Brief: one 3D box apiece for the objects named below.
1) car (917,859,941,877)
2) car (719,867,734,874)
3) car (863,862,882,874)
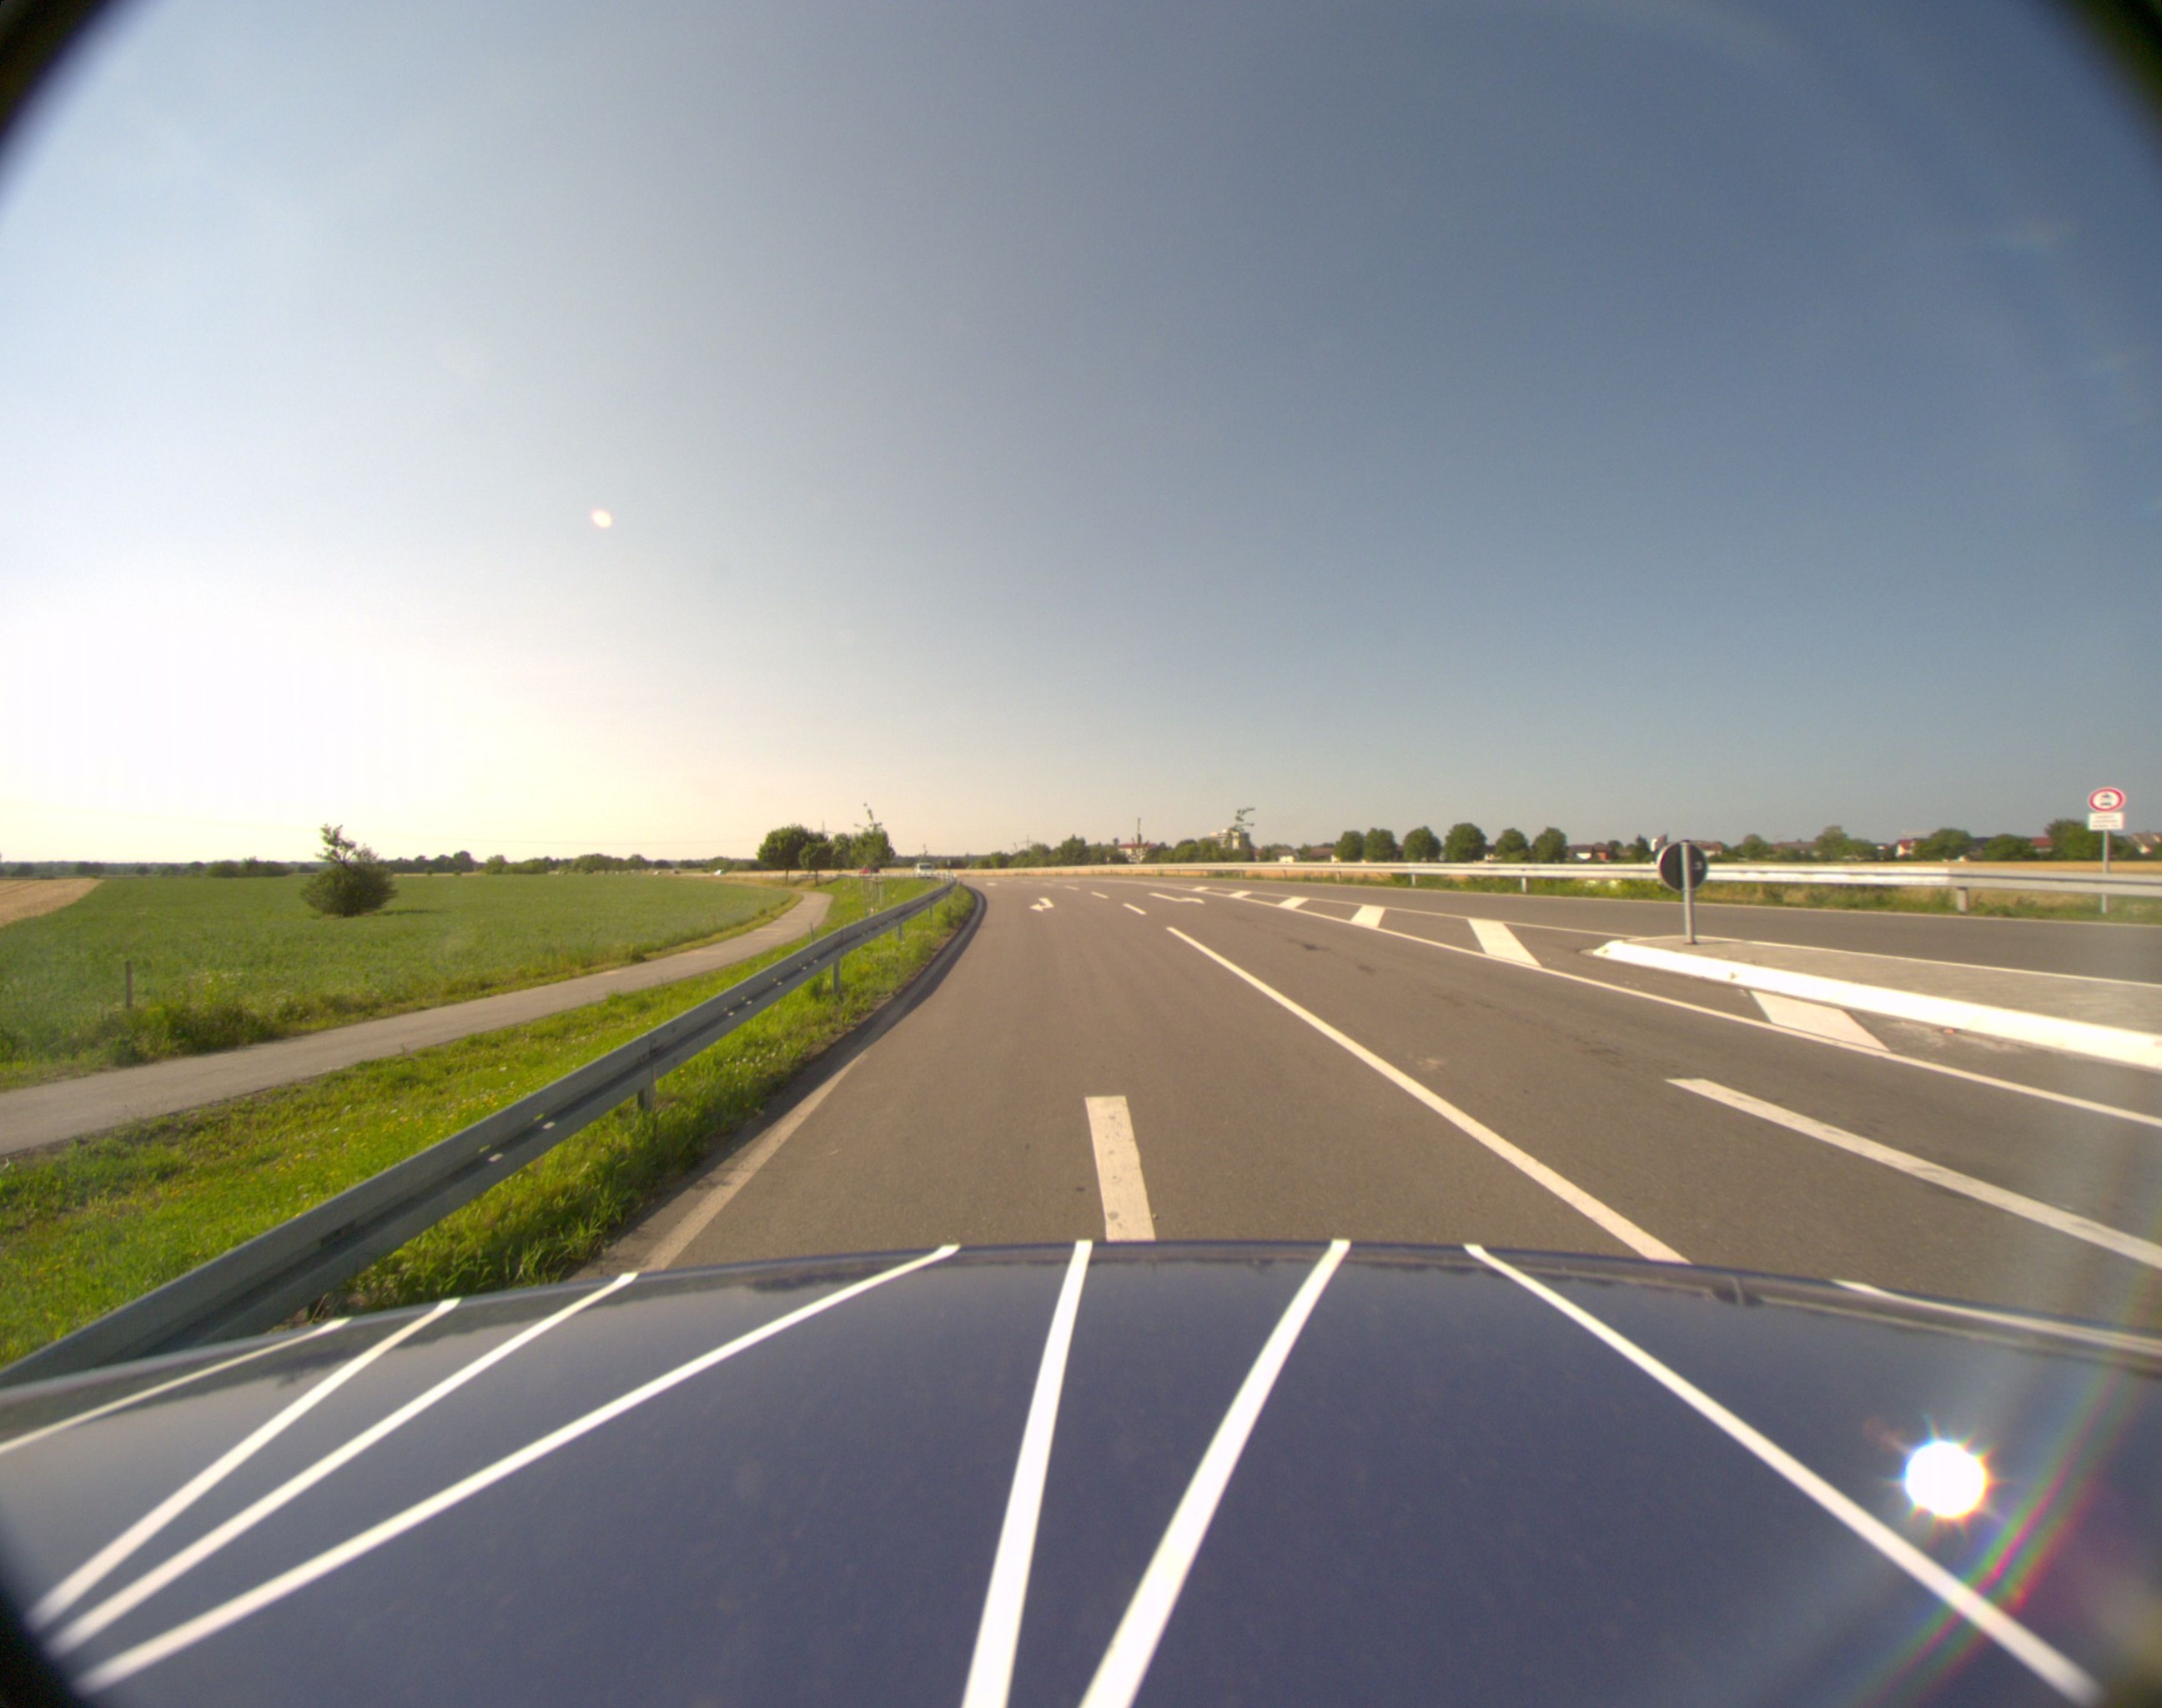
[{"bbox_3d":[-15.028,1.352,75.076,1.757,1.685,4.208,-3,1,-18],"label":"car"},{"bbox_3d":[-85.728,4.009,183.708,2.004,1.746,3.989,-1,-1,-42],"label":"car"},{"bbox_3d":[-32.484,2.139,118.465,1.817,1.663,3.991,-3,1,-30],"label":"car"}]
